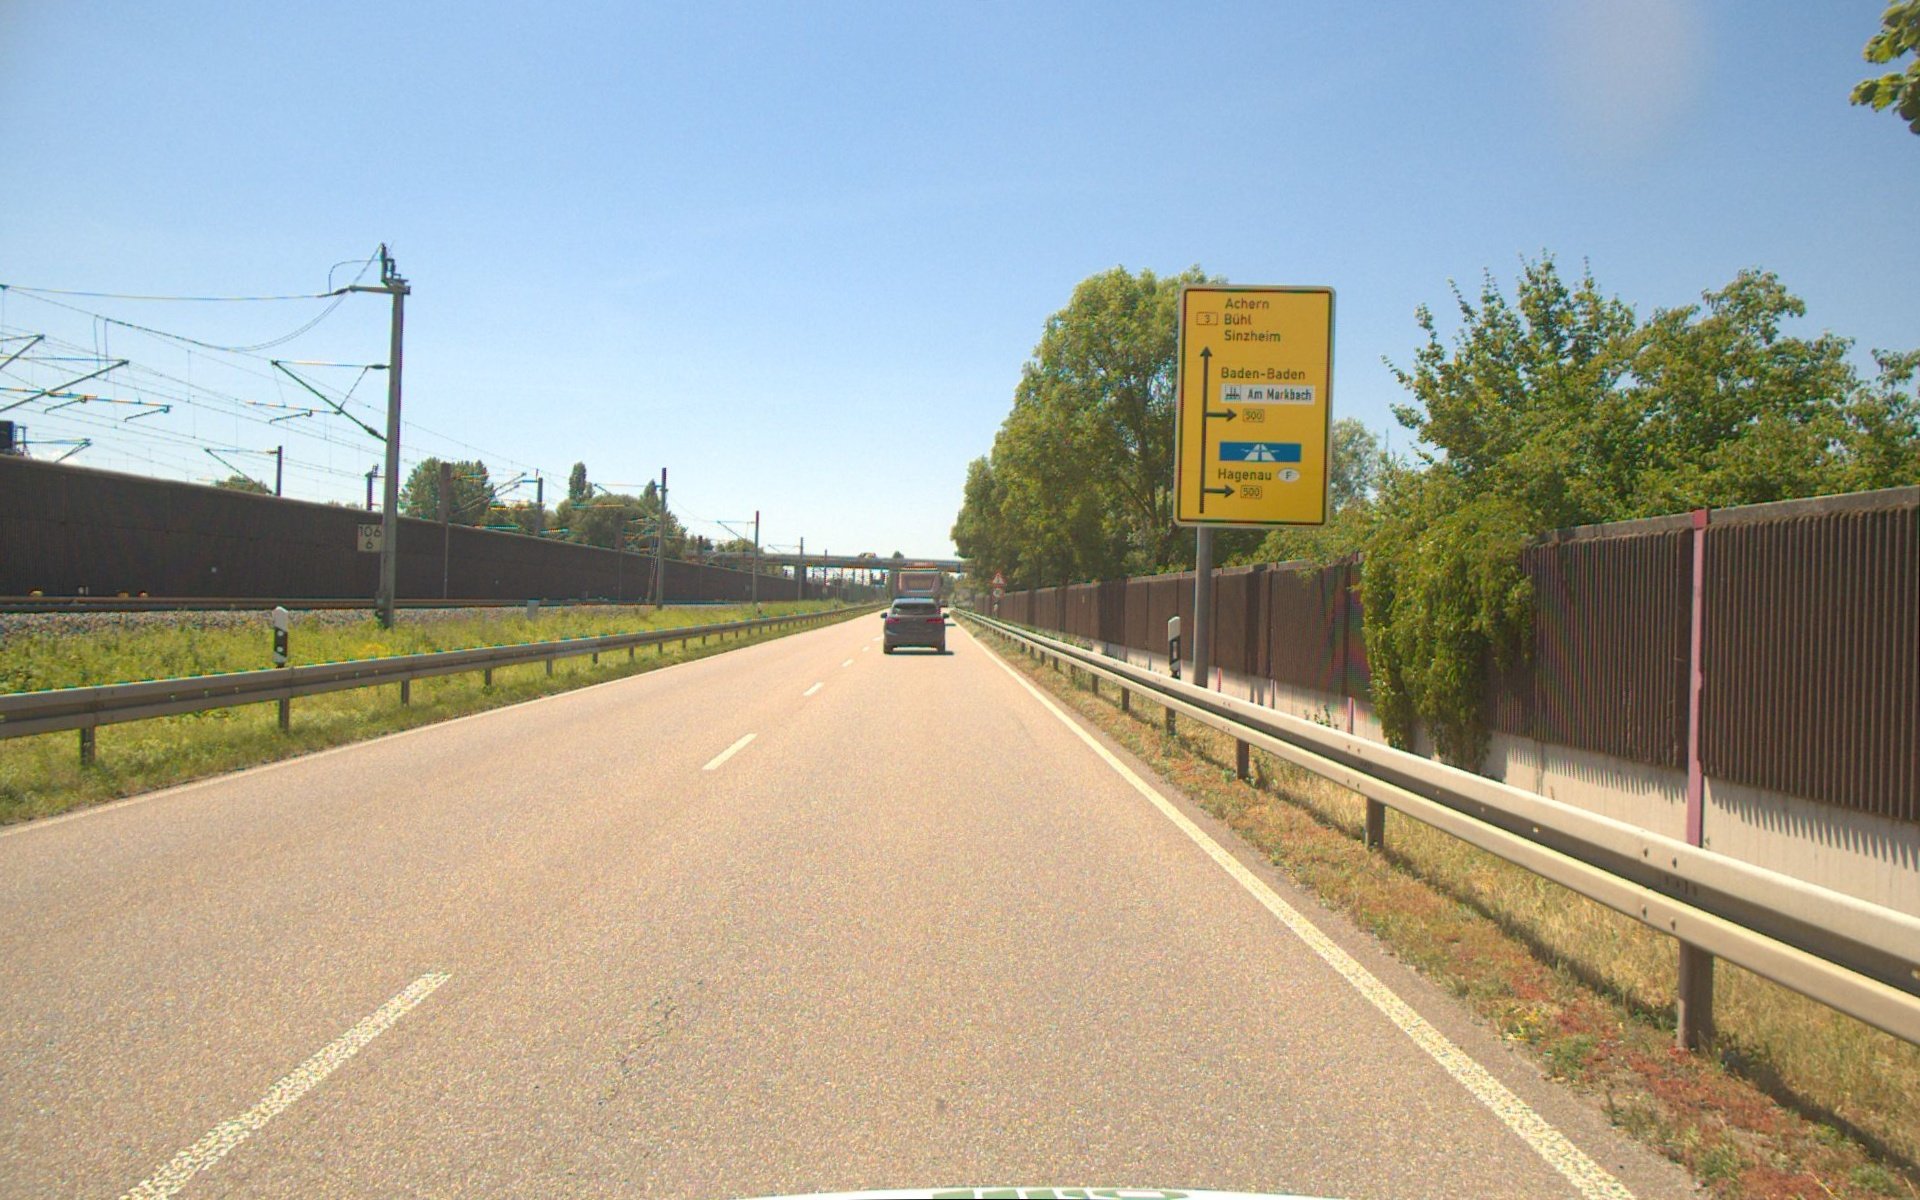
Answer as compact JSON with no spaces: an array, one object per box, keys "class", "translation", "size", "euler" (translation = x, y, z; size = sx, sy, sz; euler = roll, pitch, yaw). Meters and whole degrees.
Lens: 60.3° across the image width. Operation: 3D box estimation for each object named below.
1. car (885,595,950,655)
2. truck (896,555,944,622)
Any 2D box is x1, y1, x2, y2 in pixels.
[{"class":"car","translation":[-1.274,0.709,48.499],"size":[1.808,1.651,4.223],"euler":[0,0,-3]},{"class":"truck","translation":[-2.463,-0.652,102.303],"size":[2.776,3.888,11.882],"euler":[0,0,-1]}]
